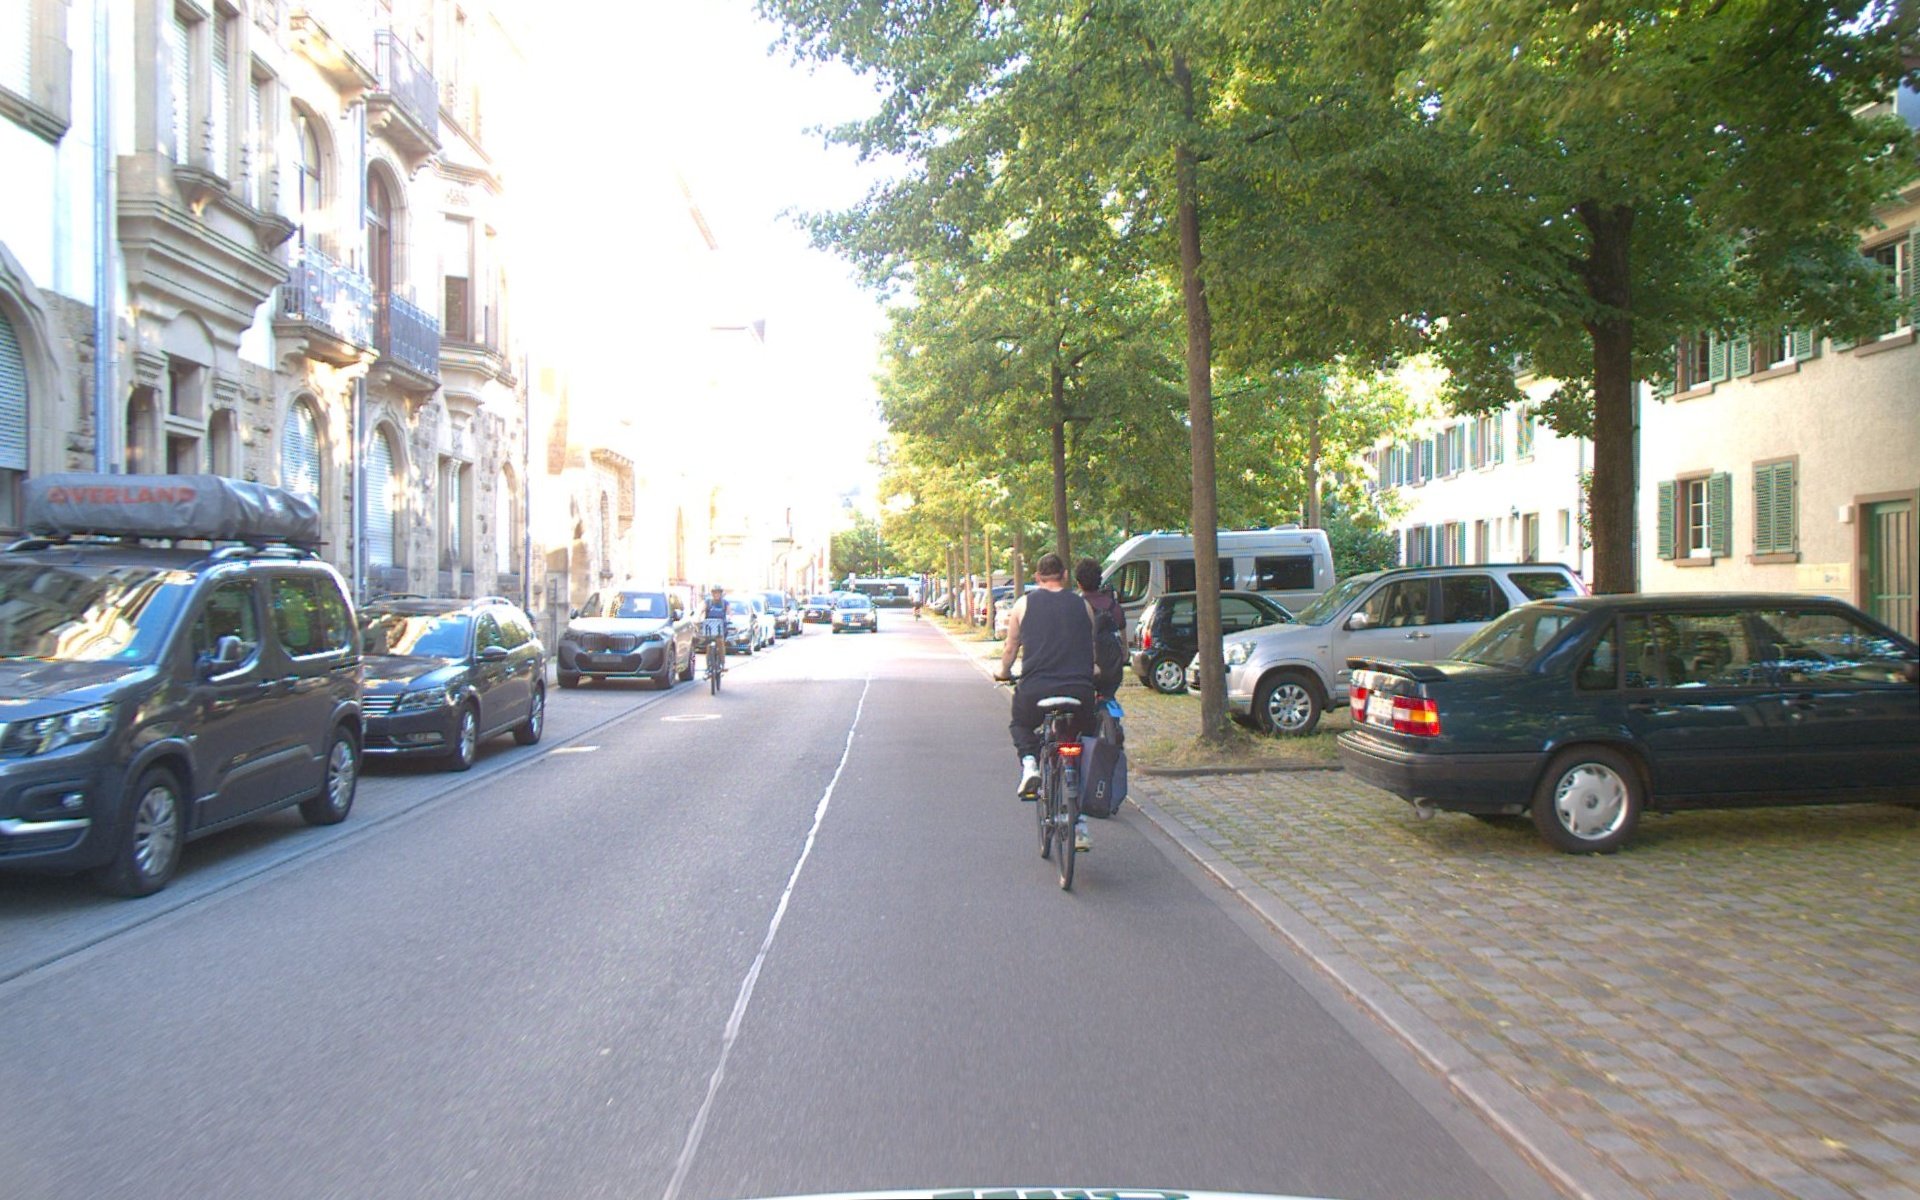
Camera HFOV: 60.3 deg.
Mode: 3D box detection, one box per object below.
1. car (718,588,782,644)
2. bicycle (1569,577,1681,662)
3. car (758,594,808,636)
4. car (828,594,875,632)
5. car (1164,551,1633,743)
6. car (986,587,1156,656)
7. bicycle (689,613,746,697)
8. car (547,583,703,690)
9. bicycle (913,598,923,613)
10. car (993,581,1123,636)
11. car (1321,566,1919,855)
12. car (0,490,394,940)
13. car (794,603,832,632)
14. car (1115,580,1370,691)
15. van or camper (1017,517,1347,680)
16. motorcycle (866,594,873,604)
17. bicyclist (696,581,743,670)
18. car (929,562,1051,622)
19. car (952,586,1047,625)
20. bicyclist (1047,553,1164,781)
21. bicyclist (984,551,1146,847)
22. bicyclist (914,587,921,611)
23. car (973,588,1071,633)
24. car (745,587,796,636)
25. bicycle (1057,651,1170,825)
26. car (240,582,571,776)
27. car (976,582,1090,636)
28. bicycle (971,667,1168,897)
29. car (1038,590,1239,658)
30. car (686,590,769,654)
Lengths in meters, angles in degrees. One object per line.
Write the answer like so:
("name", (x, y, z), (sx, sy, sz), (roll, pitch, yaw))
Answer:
("car", (-6.264, 0.473, 49.608), (1.461, 1.543, 3.773), (4, -1, -2))
("bicycle", (11.531, 0.322, 28.754), (0.786, 1.424, 1.996), (0, 0, -15))
("car", (-6.883, 0.581, 64.756), (1.583, 1.508, 4.016), (4, -1, -2))
("car", (-4.516, 0.540, 68.387), (1.859, 1.512, 4.376), (0, -1, -5))
("car", (4.561, 0.444, 17.616), (4.388, 1.698, 1.941), (-3, 1, -4))
("car", (2.863, 0.557, 43.115), (4.161, 1.634, 1.751), (-2, -1, -5))
("bicycle", (-3.830, 0.835, 26.282), (0.738, 1.199, 2.618), (-1, 1, -5))
("car", (-5.517, 0.598, 27.786), (2.009, 1.650, 4.391), (0, -1, -4))
("bicycle", (-2.449, 0.335, 96.515), (0.530, 0.842, 1.918), (0, -1, -2))
("car", (3.232, 0.287, 55.020), (4.157, 1.676, 1.854), (-2, -1, -1))
("car", (4.878, 0.579, 10.206), (4.797, 1.467, 1.940), (-2, -1, -4))
("car", (-4.896, 0.489, 9.590), (1.930, 2.009, 4.494), (1, 0, -4))
("car", (-8.001, 0.965, 90.342), (1.954, 1.512, 3.997), (0, -1, -3))
("car", (4.159, 0.520, 24.719), (3.431, 1.498, 1.750), (-1, -1, -3))
("van or camper", (3.914, -0.017, 29.821), (5.465, 2.581, 2.266), (-3, -1, -4))
("motorcycle", (-7.569, -0.066, 137.796), (0.540, 0.815, 1.307), (-1, 0, -5))
("bicyclist", (-3.802, 0.394, 26.217), (0.652, 1.368, 1.059), (-1, 1, -6))
("car", (1.758, -0.459, 99.730), (7.184, 3.339, 2.222), (-2, -1, -1))
("car", (1.971, 0.265, 83.014), (4.660, 1.811, 1.854), (-2, -1, -1))
("bicyclist", (1.023, 0.464, 11.809), (0.704, 1.553, 0.971), (0, -1, -3))
("bicyclist", (0.565, 0.527, 9.228), (0.693, 1.553, 0.969), (0, -1, -10))
("bicyclist", (-2.491, -0.049, 96.756), (0.408, 1.374, 0.430), (0, -1, -2))
("car", (2.704, 0.462, 72.942), (4.157, 1.828, 1.854), (-2, -1, -1))
("car", (-6.774, 0.417, 59.382), (1.598, 1.694, 3.966), (0, -1, -3))
("bicycle", (1.077, 0.945, 11.989), (0.544, 1.091, 1.967), (0, 0, -3))
("car", (-5.147, 0.689, 16.076), (1.694, 1.602, 4.707), (0, -1, -1))
("car", (2.737, 0.344, 62.411), (4.157, 1.872, 1.854), (-2, -1, -1))
("bicycle", (0.557, 0.947, 9.256), (0.683, 1.091, 1.964), (0, -1, -9))
("car", (4.074, 0.550, 38.159), (4.411, 1.478, 1.815), (-1, -1, -1))
("car", (-6.177, 0.579, 44.301), (1.720, 1.543, 4.112), (4, -1, -2))
